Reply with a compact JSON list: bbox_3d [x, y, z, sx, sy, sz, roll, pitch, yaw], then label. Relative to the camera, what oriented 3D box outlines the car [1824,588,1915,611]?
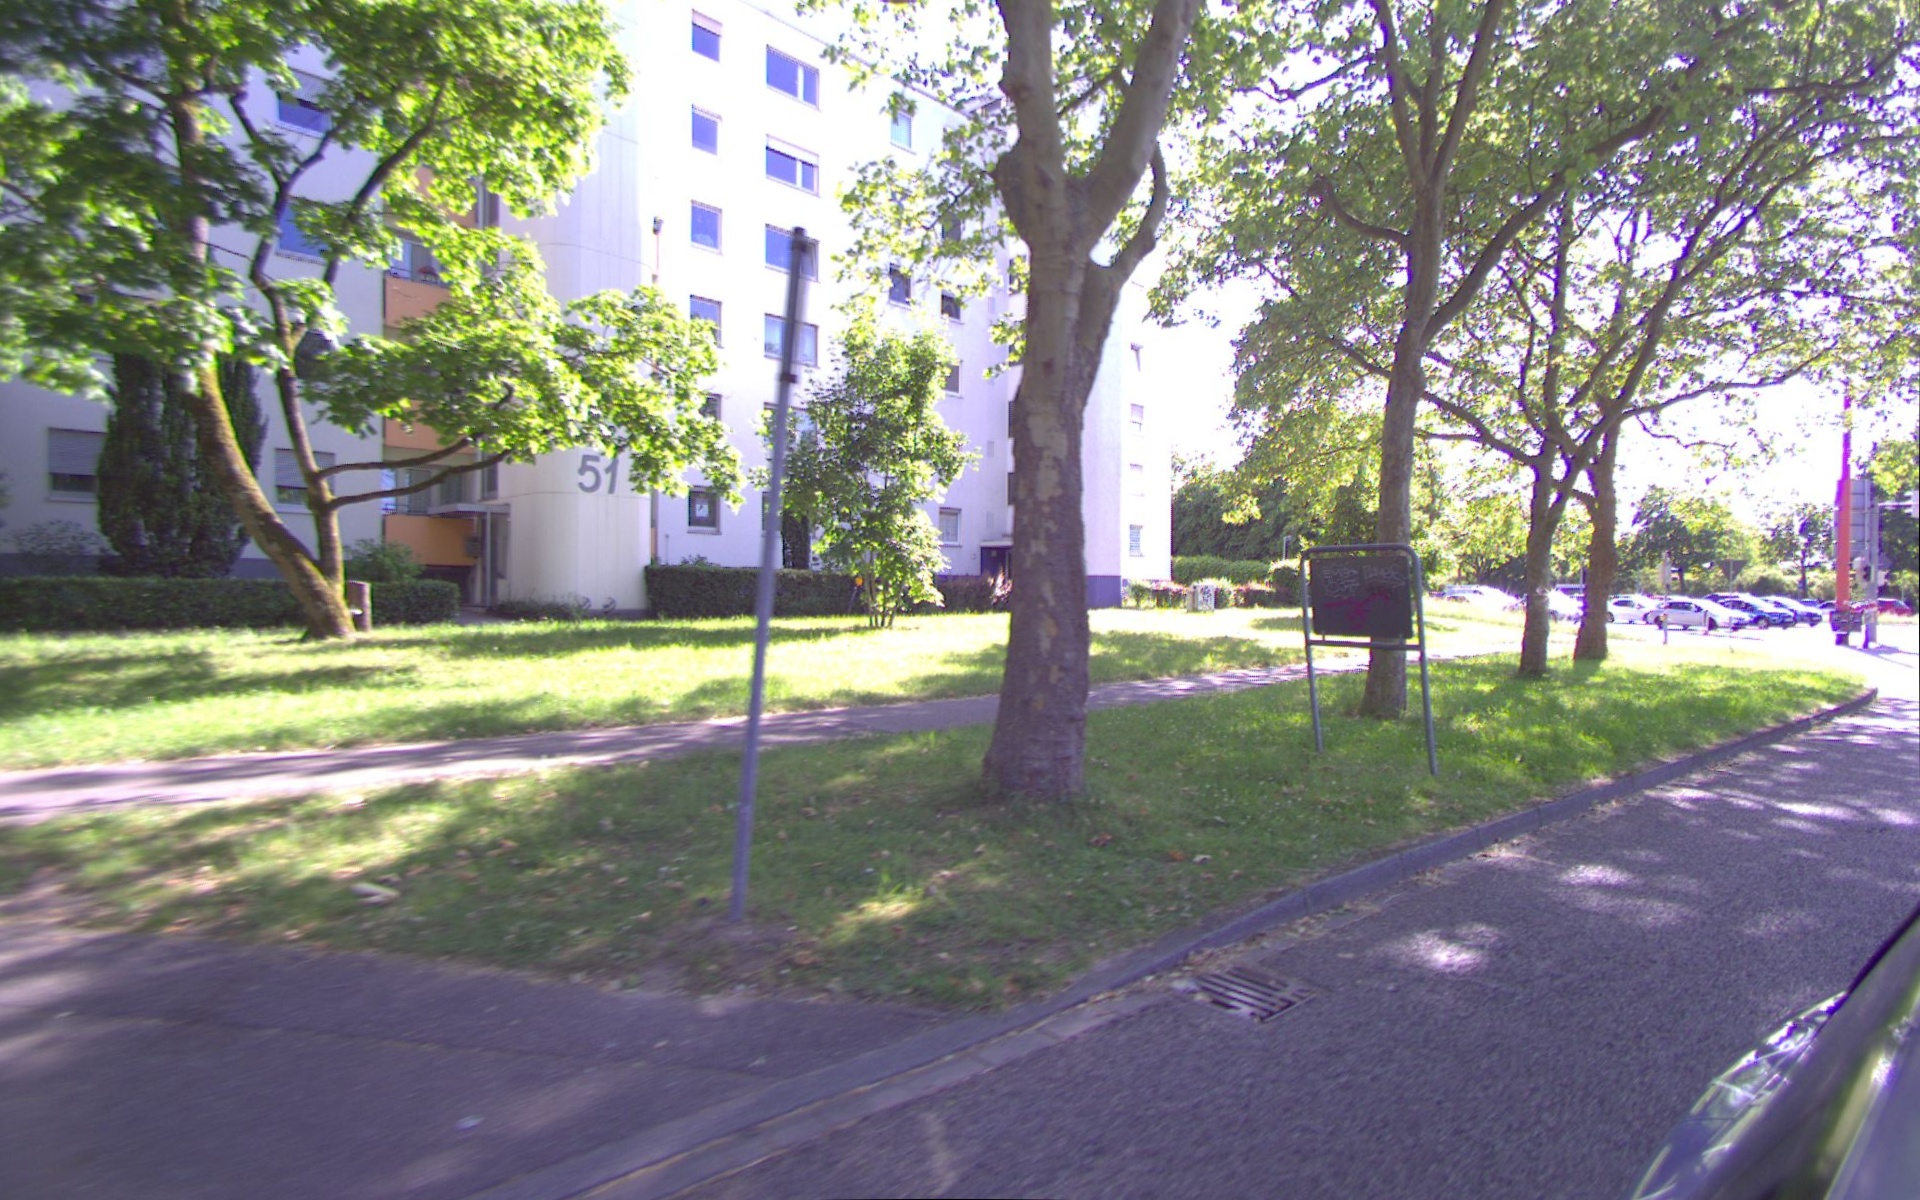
[{"bbox_3d":[63.780,-0.042,71.039,1.770,1.529,4.628,0,1,-43],"label":"car"}]

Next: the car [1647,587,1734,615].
[{"bbox_3d":[43.125,0.041,59.823,1.762,1.529,4.008,-1,1,-12],"label":"car"}]

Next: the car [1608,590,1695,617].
[{"bbox_3d":[39.477,0.181,57.880,1.762,1.409,4.008,-1,1,-12],"label":"car"}]

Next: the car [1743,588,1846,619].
[{"bbox_3d":[44.202,0.164,53.710,1.762,1.500,4.008,-1,1,-12],"label":"car"}]

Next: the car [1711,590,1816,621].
[{"bbox_3d":[41.054,0.243,51.822,1.762,1.500,4.008,-1,1,-12],"label":"car"}]

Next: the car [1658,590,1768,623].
[{"bbox_3d":[37.597,0.299,50.654,1.762,1.500,4.294,-1,1,-12],"label":"car"}]

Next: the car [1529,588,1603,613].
[{"bbox_3d":[38.175,0.006,63.849,1.762,1.525,4.008,-1,1,-12],"label":"car"}]

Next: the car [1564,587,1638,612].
[{"bbox_3d":[41.533,-0.060,65.684,1.762,1.500,4.008,-1,1,-12],"label":"car"}]

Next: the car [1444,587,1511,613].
[{"bbox_3d":[33.904,-0.021,66.429,1.762,1.604,4.008,-1,1,-12],"label":"car"}]

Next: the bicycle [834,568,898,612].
[{"bbox_3d":[-2.542,-0.261,27.513,0.499,1.120,1.772,7,5,43],"label":"bicycle"}]

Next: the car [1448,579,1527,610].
[{"bbox_3d":[36.970,-0.417,71.042,2.049,2.113,5.204,-1,1,-12],"label":"car"}]

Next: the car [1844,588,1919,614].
[{"bbox_3d":[56.723,0.055,61.909,1.556,1.477,3.680,0,1,-15],"label":"car"}]

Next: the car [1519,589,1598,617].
[{"bbox_3d":[35.290,0.136,59.790,1.762,1.529,4.008,-1,1,-12],"label":"car"}]
